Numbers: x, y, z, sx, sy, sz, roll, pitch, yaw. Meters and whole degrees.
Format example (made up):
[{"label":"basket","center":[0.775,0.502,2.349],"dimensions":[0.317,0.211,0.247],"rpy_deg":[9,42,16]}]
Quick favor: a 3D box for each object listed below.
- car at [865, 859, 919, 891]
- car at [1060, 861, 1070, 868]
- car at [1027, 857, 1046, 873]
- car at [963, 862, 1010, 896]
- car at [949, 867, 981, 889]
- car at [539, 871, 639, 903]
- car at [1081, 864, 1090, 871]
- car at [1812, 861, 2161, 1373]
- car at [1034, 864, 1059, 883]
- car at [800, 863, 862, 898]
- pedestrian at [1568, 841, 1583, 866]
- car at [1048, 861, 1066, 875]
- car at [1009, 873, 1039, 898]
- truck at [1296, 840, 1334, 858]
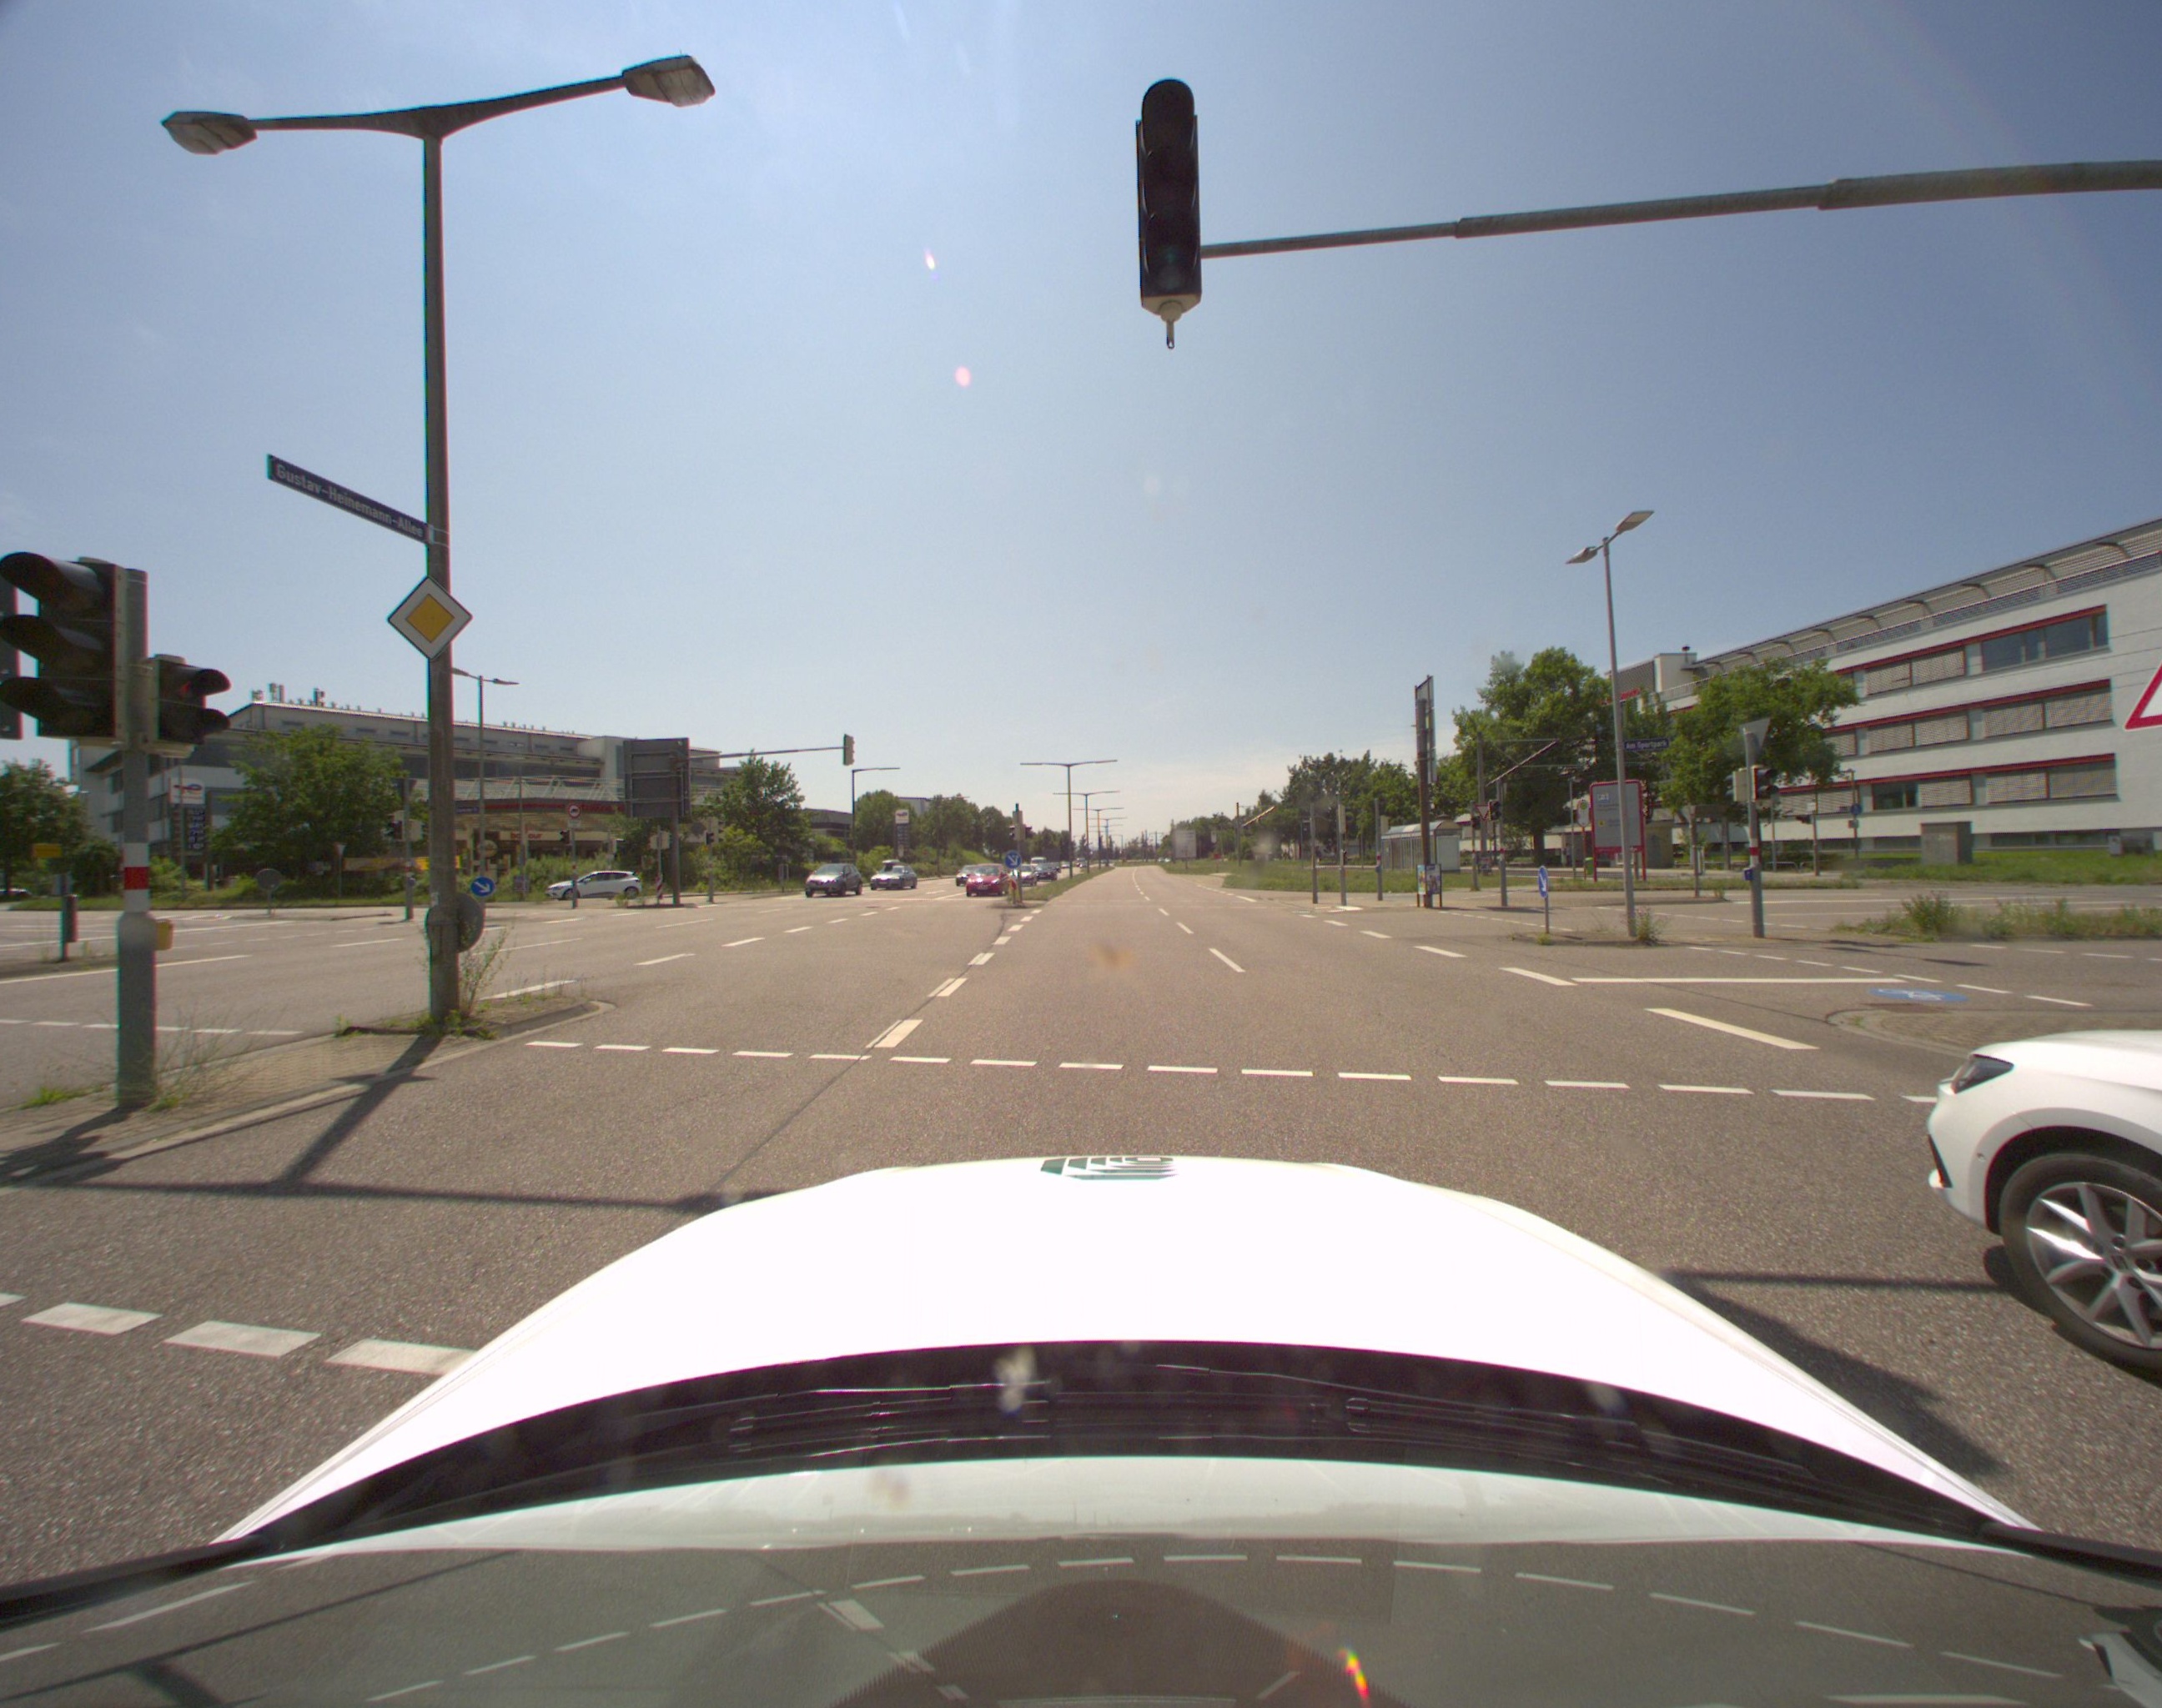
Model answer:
[{"label":"car","center":[-11.295,1.202,48.967],"dimensions":[1.958,1.750,5.023],"rpy_deg":[-1,0,1]},{"label":"car","center":[-3.336,2.155,173.216],"dimensions":[1.824,1.449,4.853],"rpy_deg":[-2,0,2]},{"label":"car","center":[-6.752,1.650,123.330],"dimensions":[2.239,2.273,5.453],"rpy_deg":[0,-1,3]},{"label":"car","center":[-4.447,1.151,38.803],"dimensions":[1.652,1.490,4.001],"rpy_deg":[-1,0,1]},{"label":"car","center":[-8.010,1.655,56.514],"dimensions":[1.591,1.385,4.004],"rpy_deg":[-1,0,1]},{"label":"car","center":[-23.927,1.585,39.676],"dimensions":[1.806,1.450,3.850],"rpy_deg":[-3,-2,45]},{"label":"car","center":[0.971,2.974,181.364],"dimensions":[1.723,1.458,4.569],"rpy_deg":[-2,0,4]},{"label":"car","center":[3.825,0.716,1.091],"dimensions":[1.677,1.390,4.450],"rpy_deg":[-1,-1,0]},{"label":"car","center":[-2.769,1.552,65.448],"dimensions":[1.669,1.434,4.192],"rpy_deg":[-1,-1,2]},{"label":"car","center":[-11.936,1.228,39.186],"dimensions":[1.652,1.539,4.001],"rpy_deg":[-1,0,1]},{"label":"pedestrian","center":[31.602,-0.030,52.018],"dimensions":[0.549,1.608,0.691],"rpy_deg":[0,-2,3]},{"label":"car","center":[-3.347,1.966,114.381],"dimensions":[1.984,2.014,4.006],"rpy_deg":[0,-1,5]},{"label":"car","center":[-3.711,2.035,53.448],"dimensions":[1.555,1.423,3.855],"rpy_deg":[-1,0,1]},{"label":"truck","center":[41.453,-0.939,144.397],"dimensions":[5.831,2.843,2.316],"rpy_deg":[-3,-1,-5]}]
